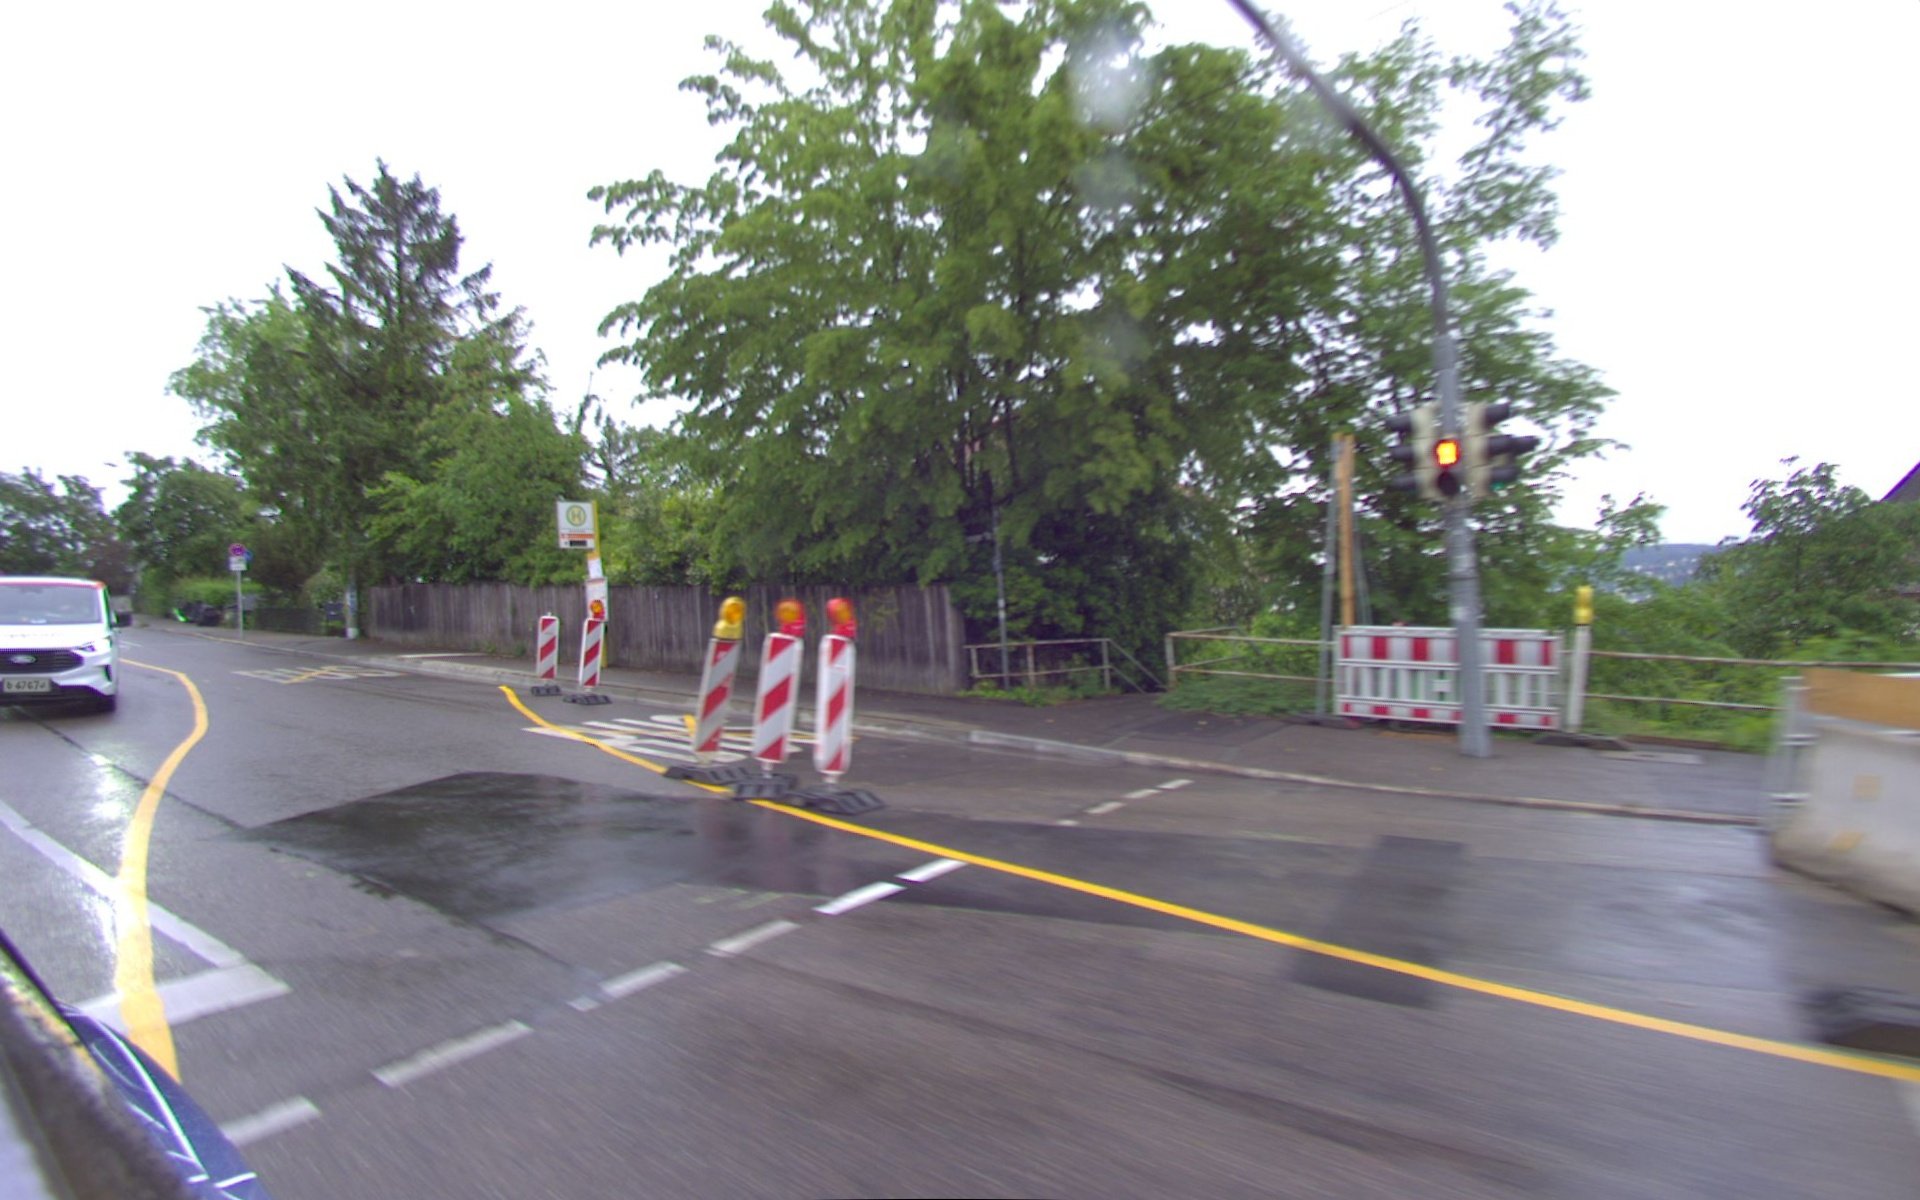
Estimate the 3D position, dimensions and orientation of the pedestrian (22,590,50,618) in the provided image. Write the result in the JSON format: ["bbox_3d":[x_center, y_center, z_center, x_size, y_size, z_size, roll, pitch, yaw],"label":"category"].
[{"bbox_3d":[-60.096,0.262,65.810,0.970,1.781,0.922,-2,0,13],"label":"pedestrian"}]

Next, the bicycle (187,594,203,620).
[{"bbox_3d":[-34.415,0.297,45.514,1.256,1.116,0.334,2,3,43],"label":"bicycle"}]

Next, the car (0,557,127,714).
[{"bbox_3d":[-13.846,0.534,15.182,1.968,2.029,4.957,3,-4,-39],"label":"car"}]

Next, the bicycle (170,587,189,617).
[{"bbox_3d":[-36.841,0.093,47.743,1.743,1.359,0.416,2,3,43],"label":"bicycle"}]

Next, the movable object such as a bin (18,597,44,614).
[{"bbox_3d":[-62.773,0.390,68.398,1.021,1.115,0.982,-2,-1,23],"label":"movable object such as a bin"}]
